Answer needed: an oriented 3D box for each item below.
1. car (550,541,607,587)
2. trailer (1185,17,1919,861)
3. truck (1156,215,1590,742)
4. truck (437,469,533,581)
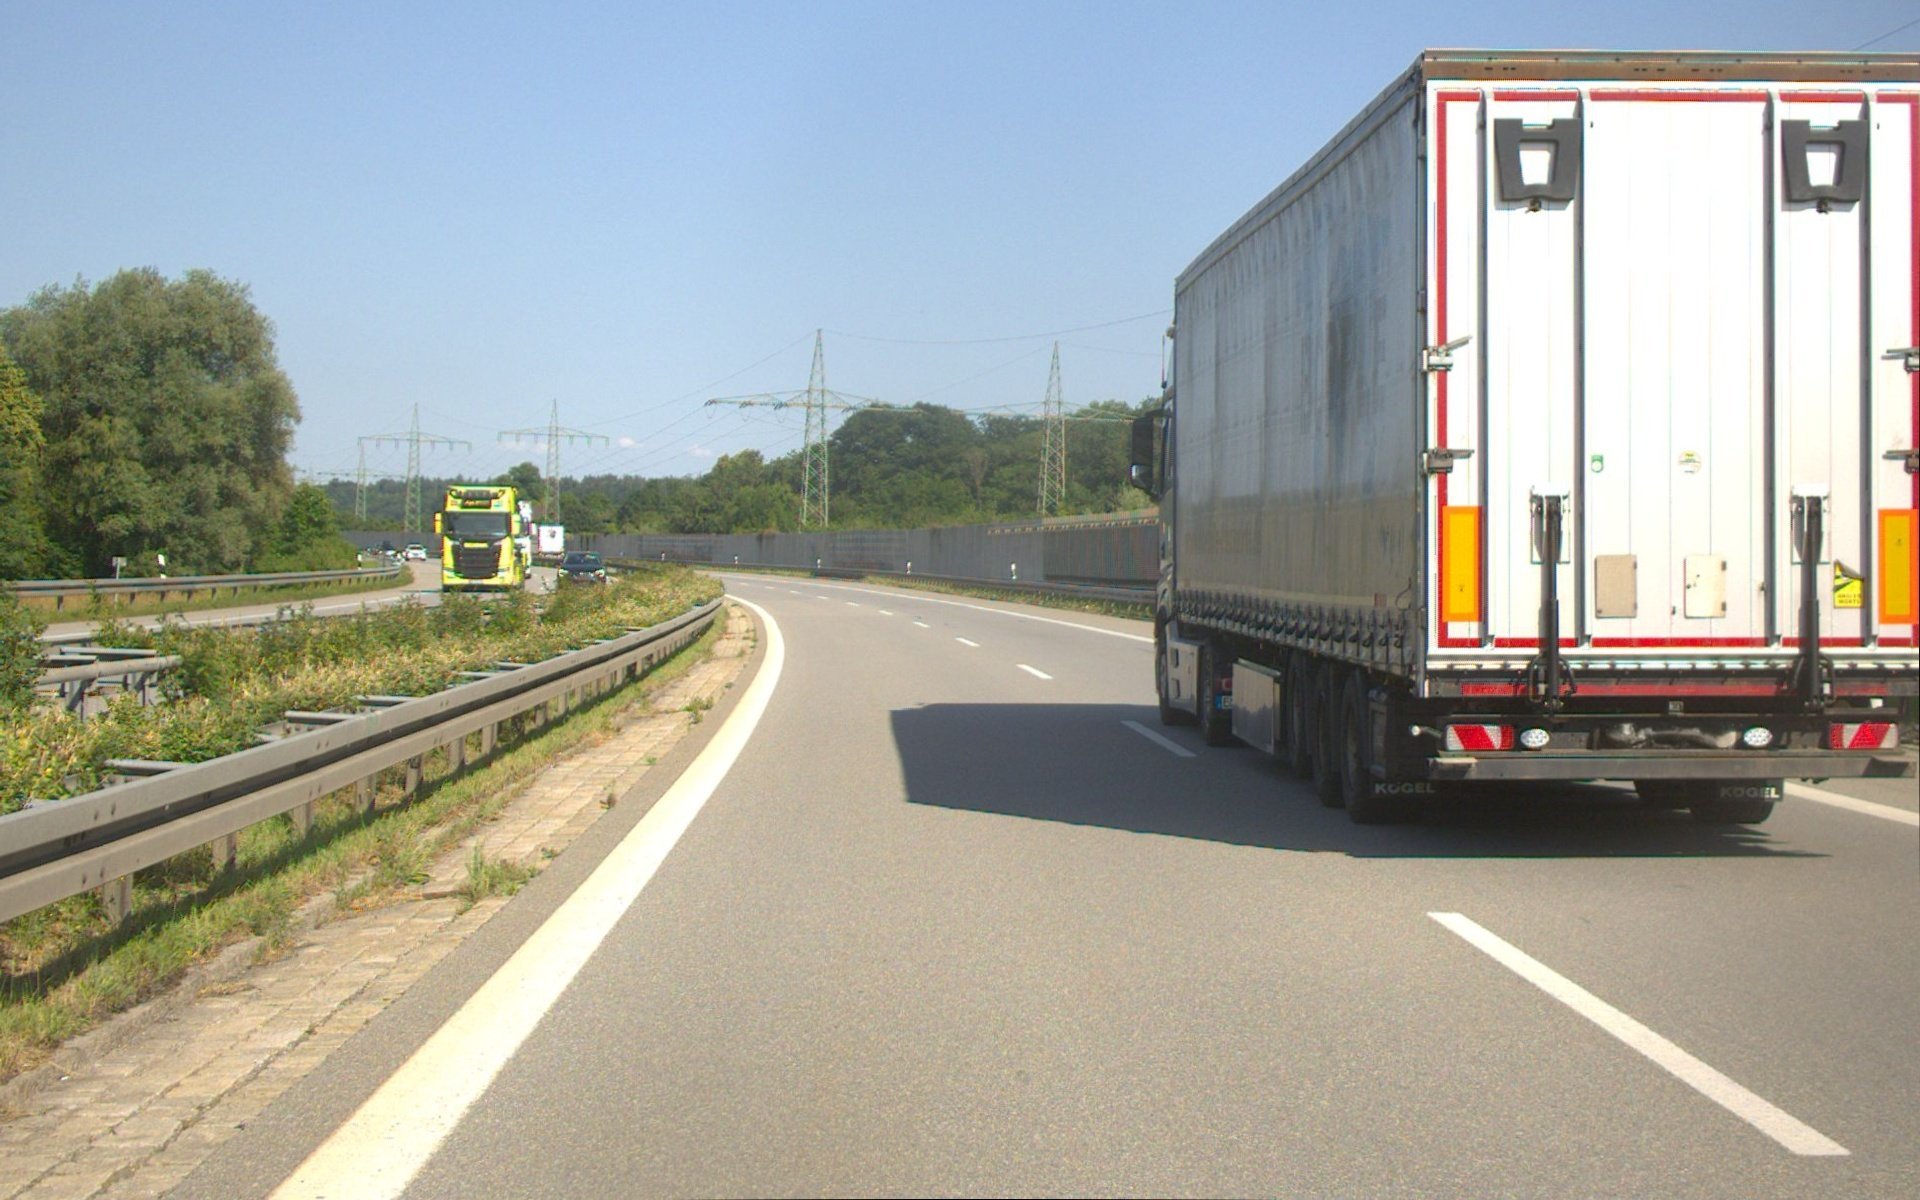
[{"bbox_3d":[-14.394,-1.361,129.887,1.993,1.665,4.001,-1,1,-4],"label":"car"},{"bbox_3d":[3.439,-0.880,22.881,2.884,4.052,12.421,-1,1,-1],"label":"trailer"},{"bbox_3d":[3.360,-0.985,29.679,2.830,3.998,6.587,-1,1,-1],"label":"truck"},{"bbox_3d":[-17.310,-2.726,125.658,2.758,3.894,8.772,-1,1,-4],"label":"truck"}]
